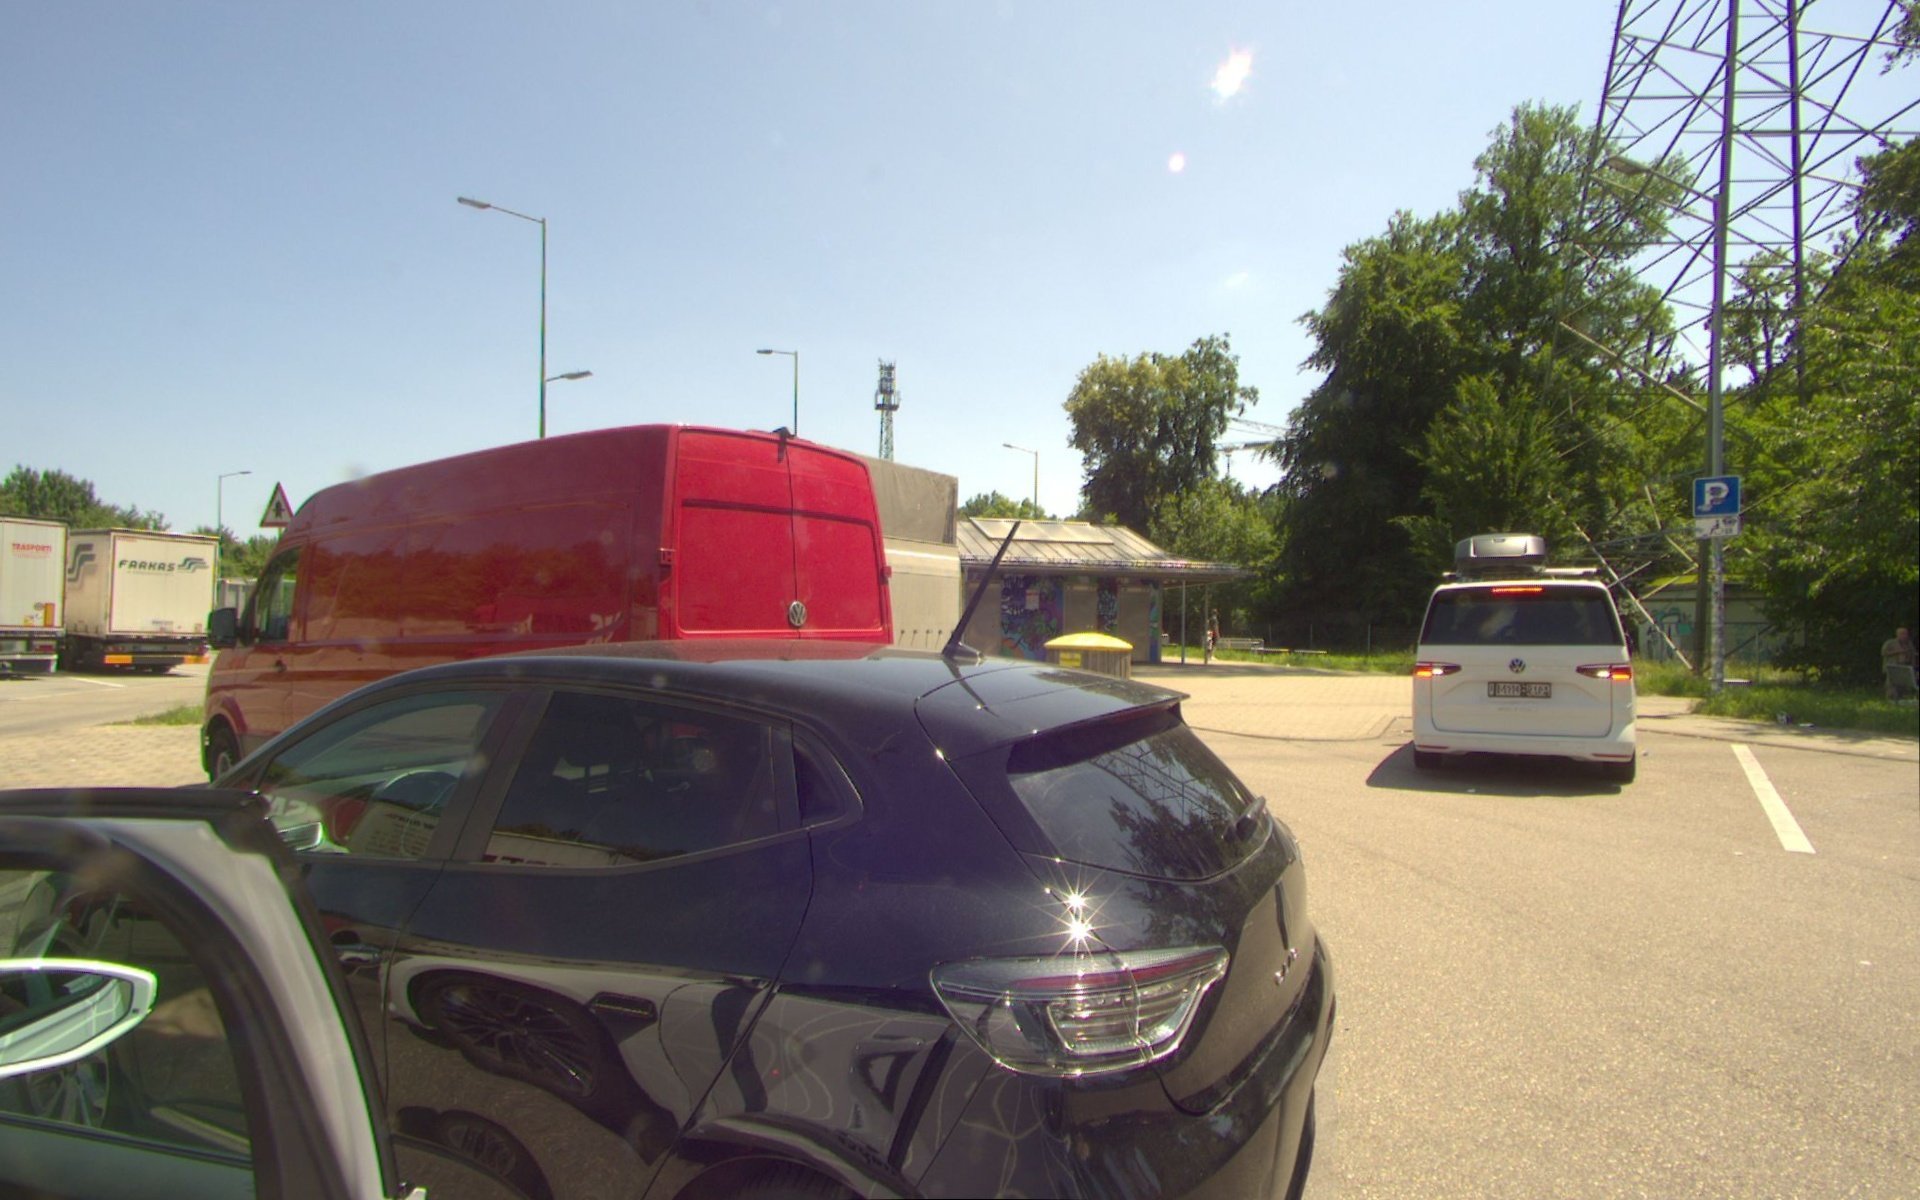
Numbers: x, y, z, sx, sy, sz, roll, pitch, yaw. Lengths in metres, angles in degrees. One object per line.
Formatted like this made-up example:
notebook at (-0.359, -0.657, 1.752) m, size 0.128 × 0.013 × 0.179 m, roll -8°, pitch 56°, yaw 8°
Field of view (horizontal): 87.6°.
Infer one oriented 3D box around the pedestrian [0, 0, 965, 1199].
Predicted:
pedestrian at (-0.529, 0.587, 0.780) m, size 0.878 × 1.865 × 0.618 m, roll -1°, pitch -1°, yaw 35°

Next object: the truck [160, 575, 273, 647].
truck at (-37.699, 0.571, 50.735) m, size 5.405 × 3.407 × 2.847 m, roll 1°, pitch -2°, yaw 34°

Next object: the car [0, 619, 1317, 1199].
car at (-1.058, 0.835, 2.909) m, size 3.757 × 1.501 × 1.736 m, roll 0°, pitch -1°, yaw 27°

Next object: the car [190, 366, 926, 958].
car at (-3.350, 0.311, 7.360) m, size 6.310 × 2.731 × 2.060 m, roll 0°, pitch -1°, yaw 37°

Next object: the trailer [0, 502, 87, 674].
trailer at (-28.969, -0.367, 28.146) m, size 13.523 × 4.185 × 2.835 m, roll 1°, pitch -2°, yaw 33°

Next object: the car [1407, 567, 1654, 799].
car at (5.964, 0.749, 10.854) m, size 1.881 × 1.937 × 4.549 m, roll -1°, pitch -1°, yaw 26°

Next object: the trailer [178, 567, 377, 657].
trailer at (-32.390, 0.487, 47.137) m, size 13.530 × 3.764 × 2.834 m, roll 1°, pitch -2°, yaw 34°

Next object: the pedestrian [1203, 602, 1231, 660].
pedestrian at (9.241, 1.115, 36.030) m, size 0.765 × 2.067 × 0.644 m, roll 0°, pitch -1°, yaw -20°

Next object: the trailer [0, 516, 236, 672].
trailer at (-27.661, -0.188, 31.627) m, size 13.523 × 4.185 × 2.835 m, roll 1°, pitch -2°, yaw 33°

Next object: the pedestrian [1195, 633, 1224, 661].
pedestrian at (8.855, 1.658, 35.567) m, size 0.765 × 0.960 × 0.644 m, roll 0°, pitch -1°, yaw -20°

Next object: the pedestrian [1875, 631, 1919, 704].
pedestrian at (18.648, 1.321, 19.827) m, size 0.660 × 1.422 × 0.647 m, roll -1°, pitch -1°, yaw 33°

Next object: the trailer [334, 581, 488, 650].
trailer at (-36.057, 0.918, 65.429) m, size 13.530 × 4.101 × 2.834 m, roll 1°, pitch -2°, yaw 34°

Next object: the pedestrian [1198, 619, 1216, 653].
pedestrian at (11.390, 1.675, 46.146) m, size 0.634 × 1.547 × 0.565 m, roll 0°, pitch -1°, yaw -15°

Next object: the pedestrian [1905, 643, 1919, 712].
pedestrian at (17.192, 1.354, 17.483) m, size 0.876 × 1.192 × 0.666 m, roll -1°, pitch -2°, yaw 32°
